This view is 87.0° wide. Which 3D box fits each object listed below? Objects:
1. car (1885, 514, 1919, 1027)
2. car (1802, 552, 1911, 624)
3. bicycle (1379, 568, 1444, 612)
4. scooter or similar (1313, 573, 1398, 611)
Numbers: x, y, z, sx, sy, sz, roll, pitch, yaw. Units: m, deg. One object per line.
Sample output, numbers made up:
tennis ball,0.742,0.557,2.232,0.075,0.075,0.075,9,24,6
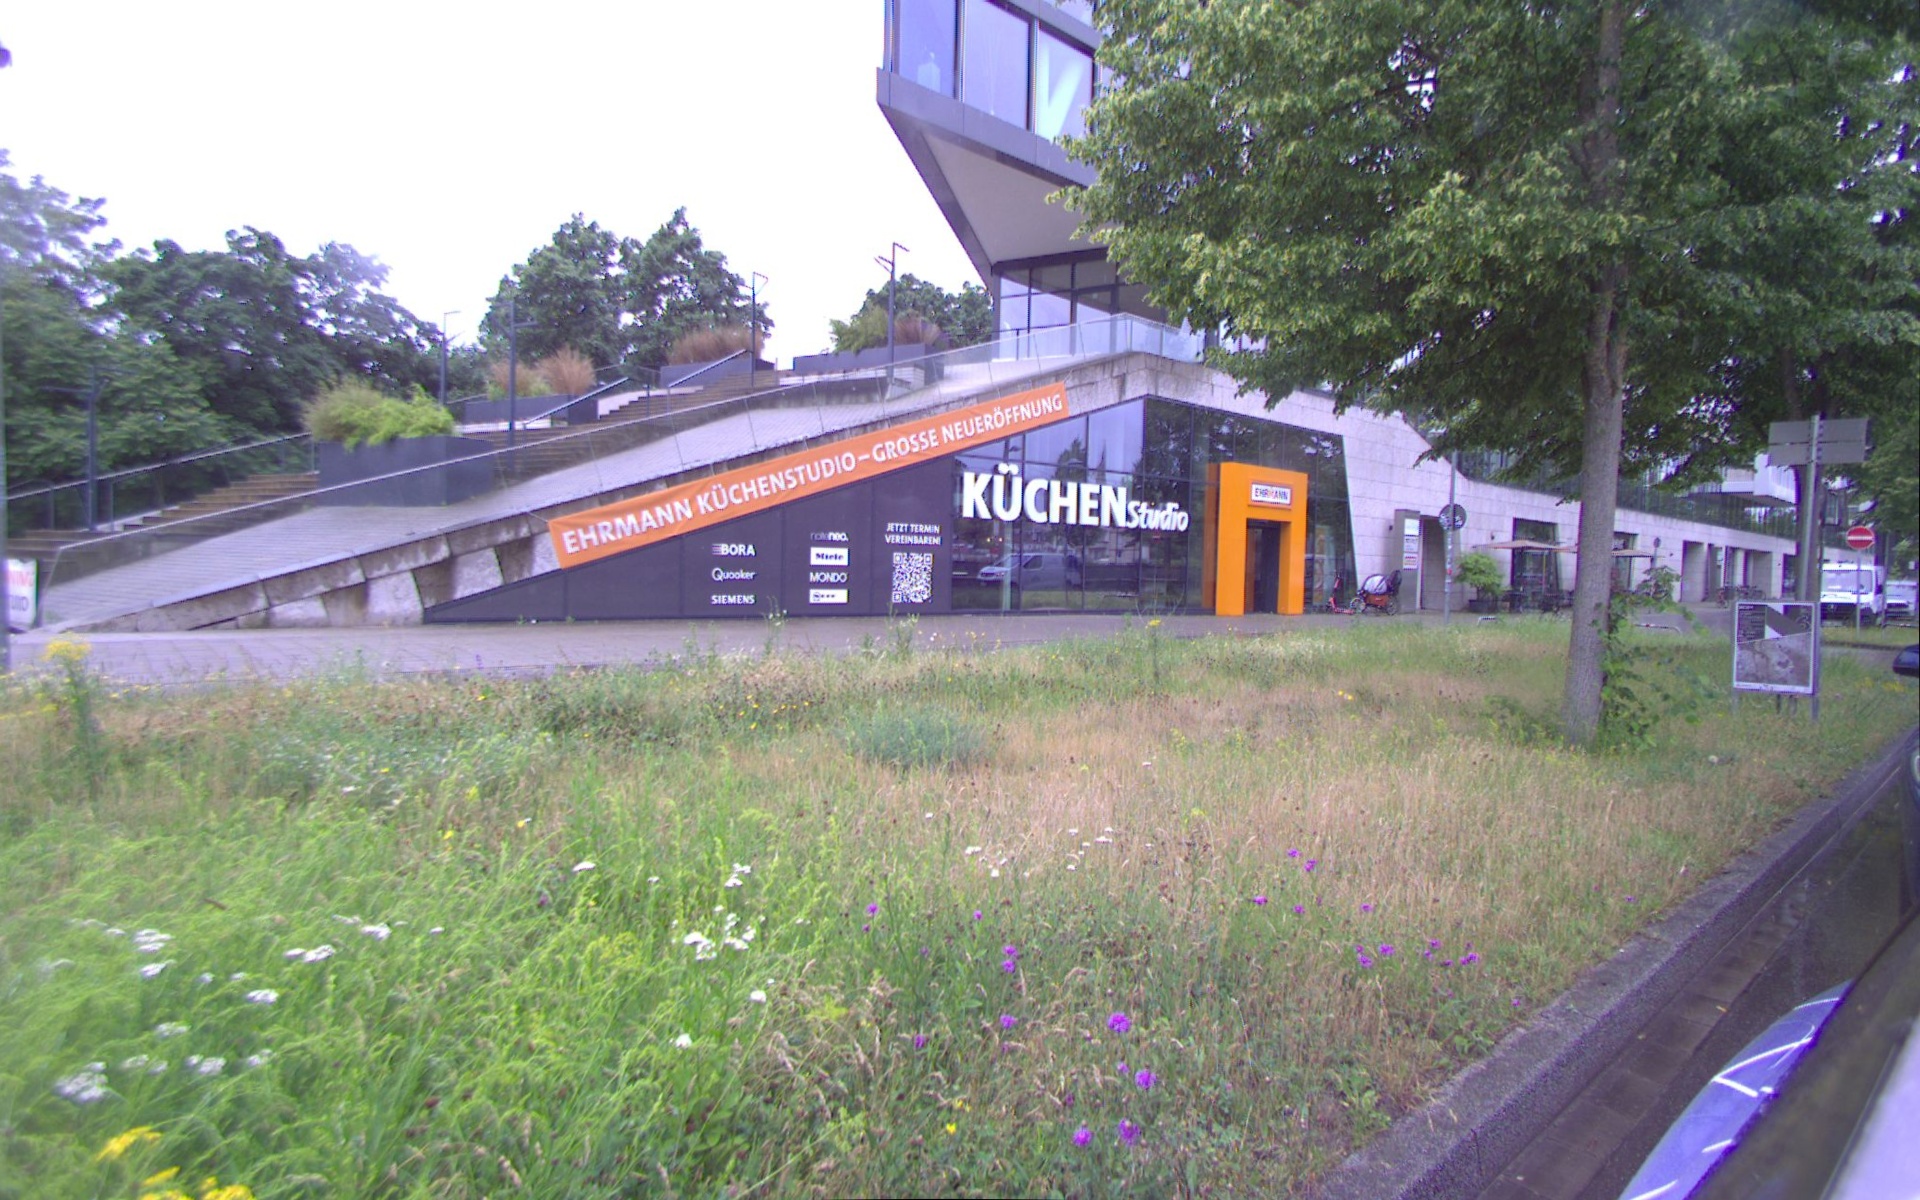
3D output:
car,5.502,0.627,4.245,4.306,1.769,1.915,1,-1,-41
car,29.697,-0.401,33.471,5.008,2.229,2.083,-1,0,-41
bicycle,14.588,-0.334,32.685,2.650,1.364,0.882,-1,0,-41
scooter or similar,12.097,-0.246,30.940,2.560,1.113,0.814,0,0,-23
